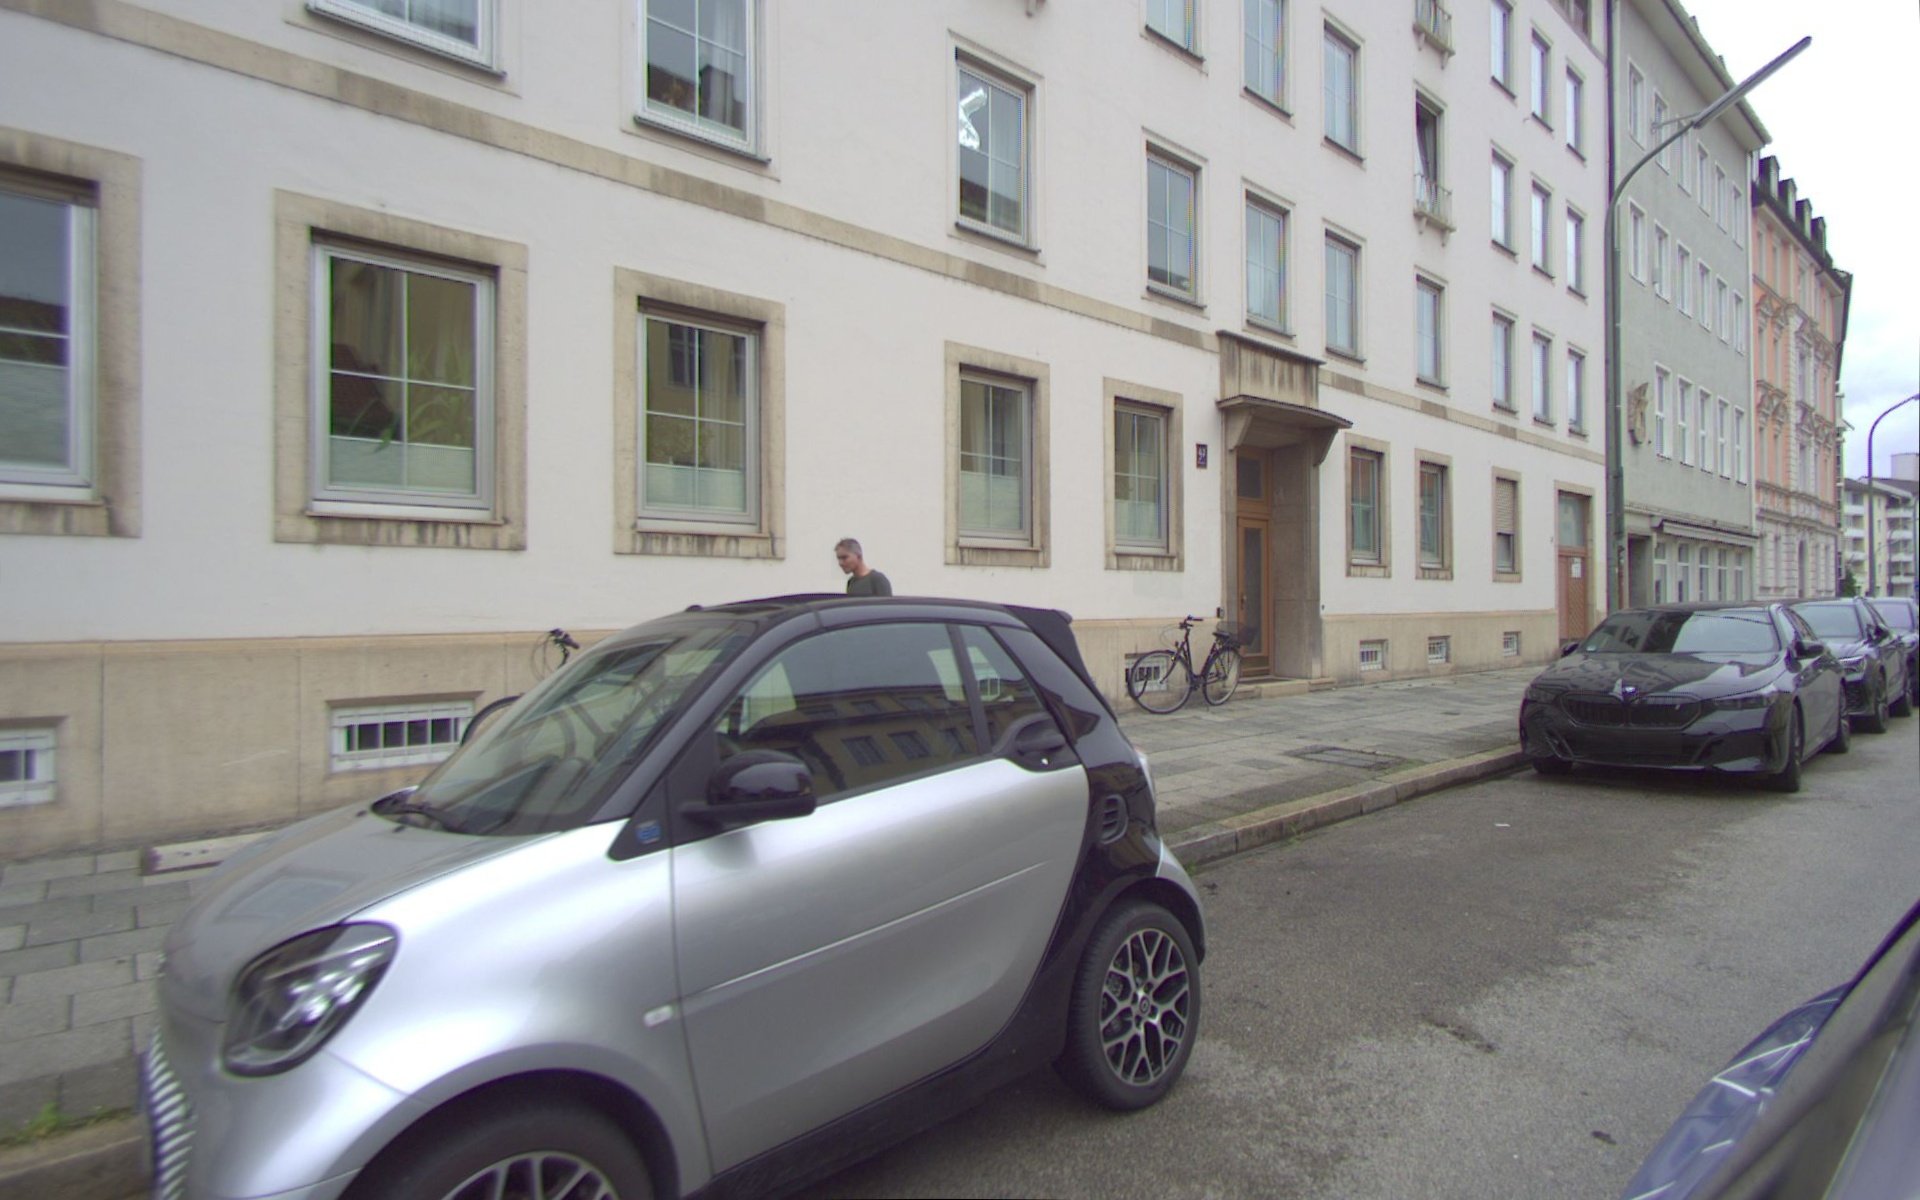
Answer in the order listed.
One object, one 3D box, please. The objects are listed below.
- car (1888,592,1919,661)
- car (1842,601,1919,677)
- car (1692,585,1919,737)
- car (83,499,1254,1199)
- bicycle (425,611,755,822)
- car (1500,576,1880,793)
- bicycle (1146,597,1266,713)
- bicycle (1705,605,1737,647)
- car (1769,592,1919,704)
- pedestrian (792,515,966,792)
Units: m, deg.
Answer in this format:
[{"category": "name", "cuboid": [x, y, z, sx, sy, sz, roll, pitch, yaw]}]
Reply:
[{"category": "car", "cuboid": [24.296, 0.618, 25.054, 4.290, 1.613, 1.706, 0, -2, -45]}, {"category": "car", "cuboid": [19.780, 0.745, 20.967, 4.451, 1.447, 1.675, 0, -2, -41]}, {"category": "car", "cuboid": [10.959, 0.671, 12.866, 4.554, 1.610, 1.647, 0, -3, -41]}, {"category": "car", "cuboid": [-0.683, 0.648, 2.956, 2.831, 1.515, 1.652, 0, -3, -41]}, {"category": "bicycle", "cuboid": [-2.454, 0.702, 6.918, 2.066, 1.233, 0.530, 0, -1, -41]}, {"category": "car", "cuboid": [7.050, 0.619, 9.493, 5.229, 1.504, 1.804, 0, -3, -42]}, {"category": "bicycle", "cuboid": [2.901, 0.594, 11.784, 0.512, 1.238, 1.959, 0, 0, 41]}, {"category": "bicycle", "cuboid": [21.504, 0.715, 28.592, 1.916, 1.172, 0.384, 0, -1, -43]}, {"category": "car", "cuboid": [14.553, 0.665, 16.022, 4.626, 1.542, 1.842, 0, -1, -40]}, {"category": "pedestrian", "cuboid": [-0.563, 0.328, 7.081, 0.889, 1.785, 0.724, -3, 1, -41]}]
